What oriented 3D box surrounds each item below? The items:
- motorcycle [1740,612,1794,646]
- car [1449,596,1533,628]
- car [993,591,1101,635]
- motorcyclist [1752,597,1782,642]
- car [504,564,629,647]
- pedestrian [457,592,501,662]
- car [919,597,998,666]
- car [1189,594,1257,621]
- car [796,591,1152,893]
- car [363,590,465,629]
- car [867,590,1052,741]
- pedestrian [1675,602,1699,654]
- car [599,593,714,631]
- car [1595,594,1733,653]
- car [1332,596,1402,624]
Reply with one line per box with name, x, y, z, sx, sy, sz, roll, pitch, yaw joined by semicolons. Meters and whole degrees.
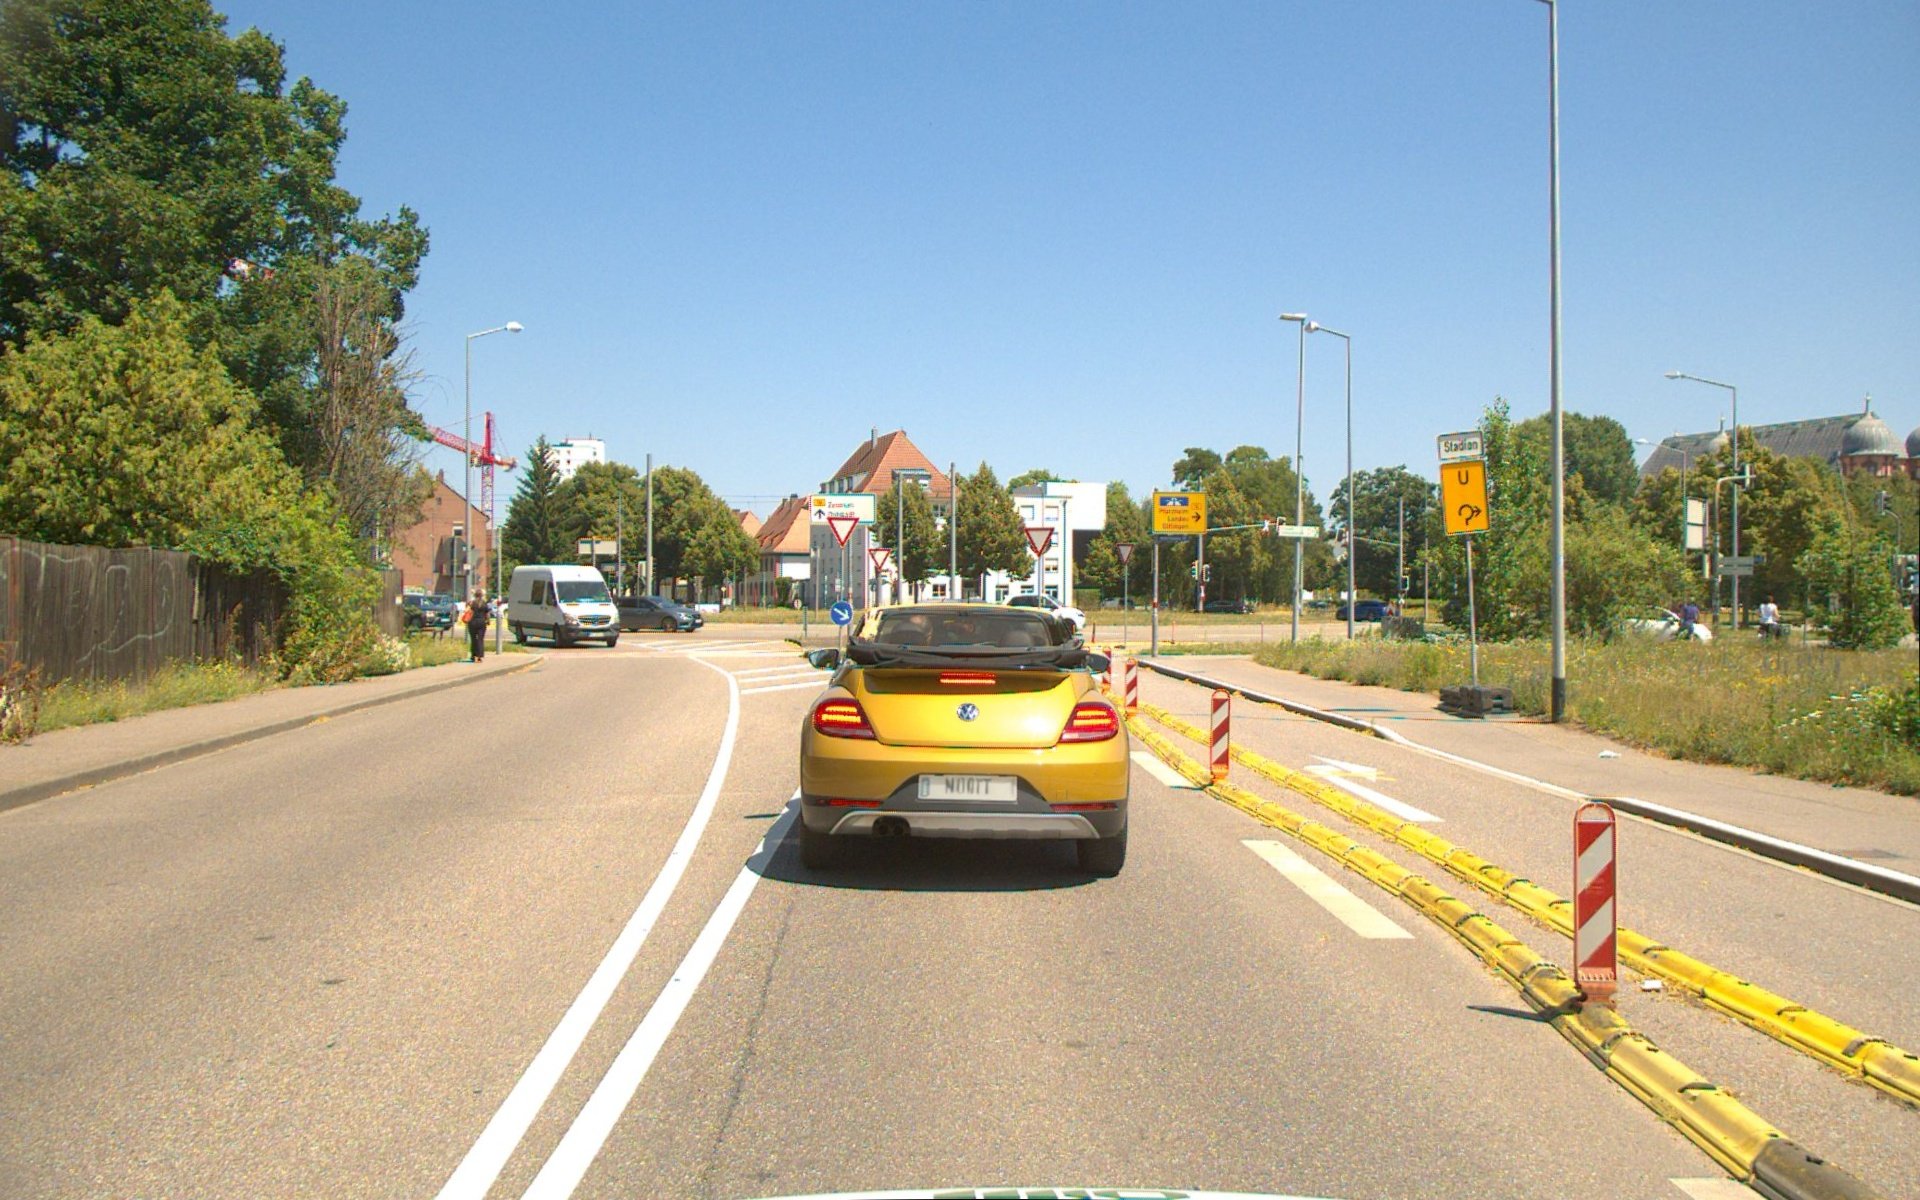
motorcycle;24.067;0.867;49.329;1.685;0.987;0.625;1;-1;-30
car;31.537;0.730;98.413;1.991;1.817;5.148;-1;0;-21
car;3.336;0.502;63.088;3.902;1.579;1.742;1;0;9
motorcyclist;24.094;0.575;49.376;0.606;1.312;0.576;1;-1;-30
car;-13.123;0.186;54.788;2.000;2.583;6.753;0;0;-32
pedestrian;-11.128;0.614;38.285;0.792;1.590;0.876;1;0;-5
car;-0.058;0.699;37.969;1.701;1.467;3.999;1;0;-1
car;18.838;0.546;118.631;2.003;1.817;4.870;-1;0;-35
car;0.044;0.702;9.968;1.717;1.447;3.776;1;0;-1
car;-24.011;0.409;72.700;4.353;1.624;1.995;1;0;33
car;-0.021;0.660;18.426;1.810;1.467;3.999;1;0;-1
pedestrian;22.462;0.848;51.113;0.487;1.590;0.514;1;-1;-1
car;-12.136;0.464;66.171;4.104;1.415;1.903;1;0;15
car;23.029;0.758;54.247;3.902;1.847;1.772;1;0;13
car;27.084;0.649;110.196;1.993;1.817;4.896;-1;0;-23
